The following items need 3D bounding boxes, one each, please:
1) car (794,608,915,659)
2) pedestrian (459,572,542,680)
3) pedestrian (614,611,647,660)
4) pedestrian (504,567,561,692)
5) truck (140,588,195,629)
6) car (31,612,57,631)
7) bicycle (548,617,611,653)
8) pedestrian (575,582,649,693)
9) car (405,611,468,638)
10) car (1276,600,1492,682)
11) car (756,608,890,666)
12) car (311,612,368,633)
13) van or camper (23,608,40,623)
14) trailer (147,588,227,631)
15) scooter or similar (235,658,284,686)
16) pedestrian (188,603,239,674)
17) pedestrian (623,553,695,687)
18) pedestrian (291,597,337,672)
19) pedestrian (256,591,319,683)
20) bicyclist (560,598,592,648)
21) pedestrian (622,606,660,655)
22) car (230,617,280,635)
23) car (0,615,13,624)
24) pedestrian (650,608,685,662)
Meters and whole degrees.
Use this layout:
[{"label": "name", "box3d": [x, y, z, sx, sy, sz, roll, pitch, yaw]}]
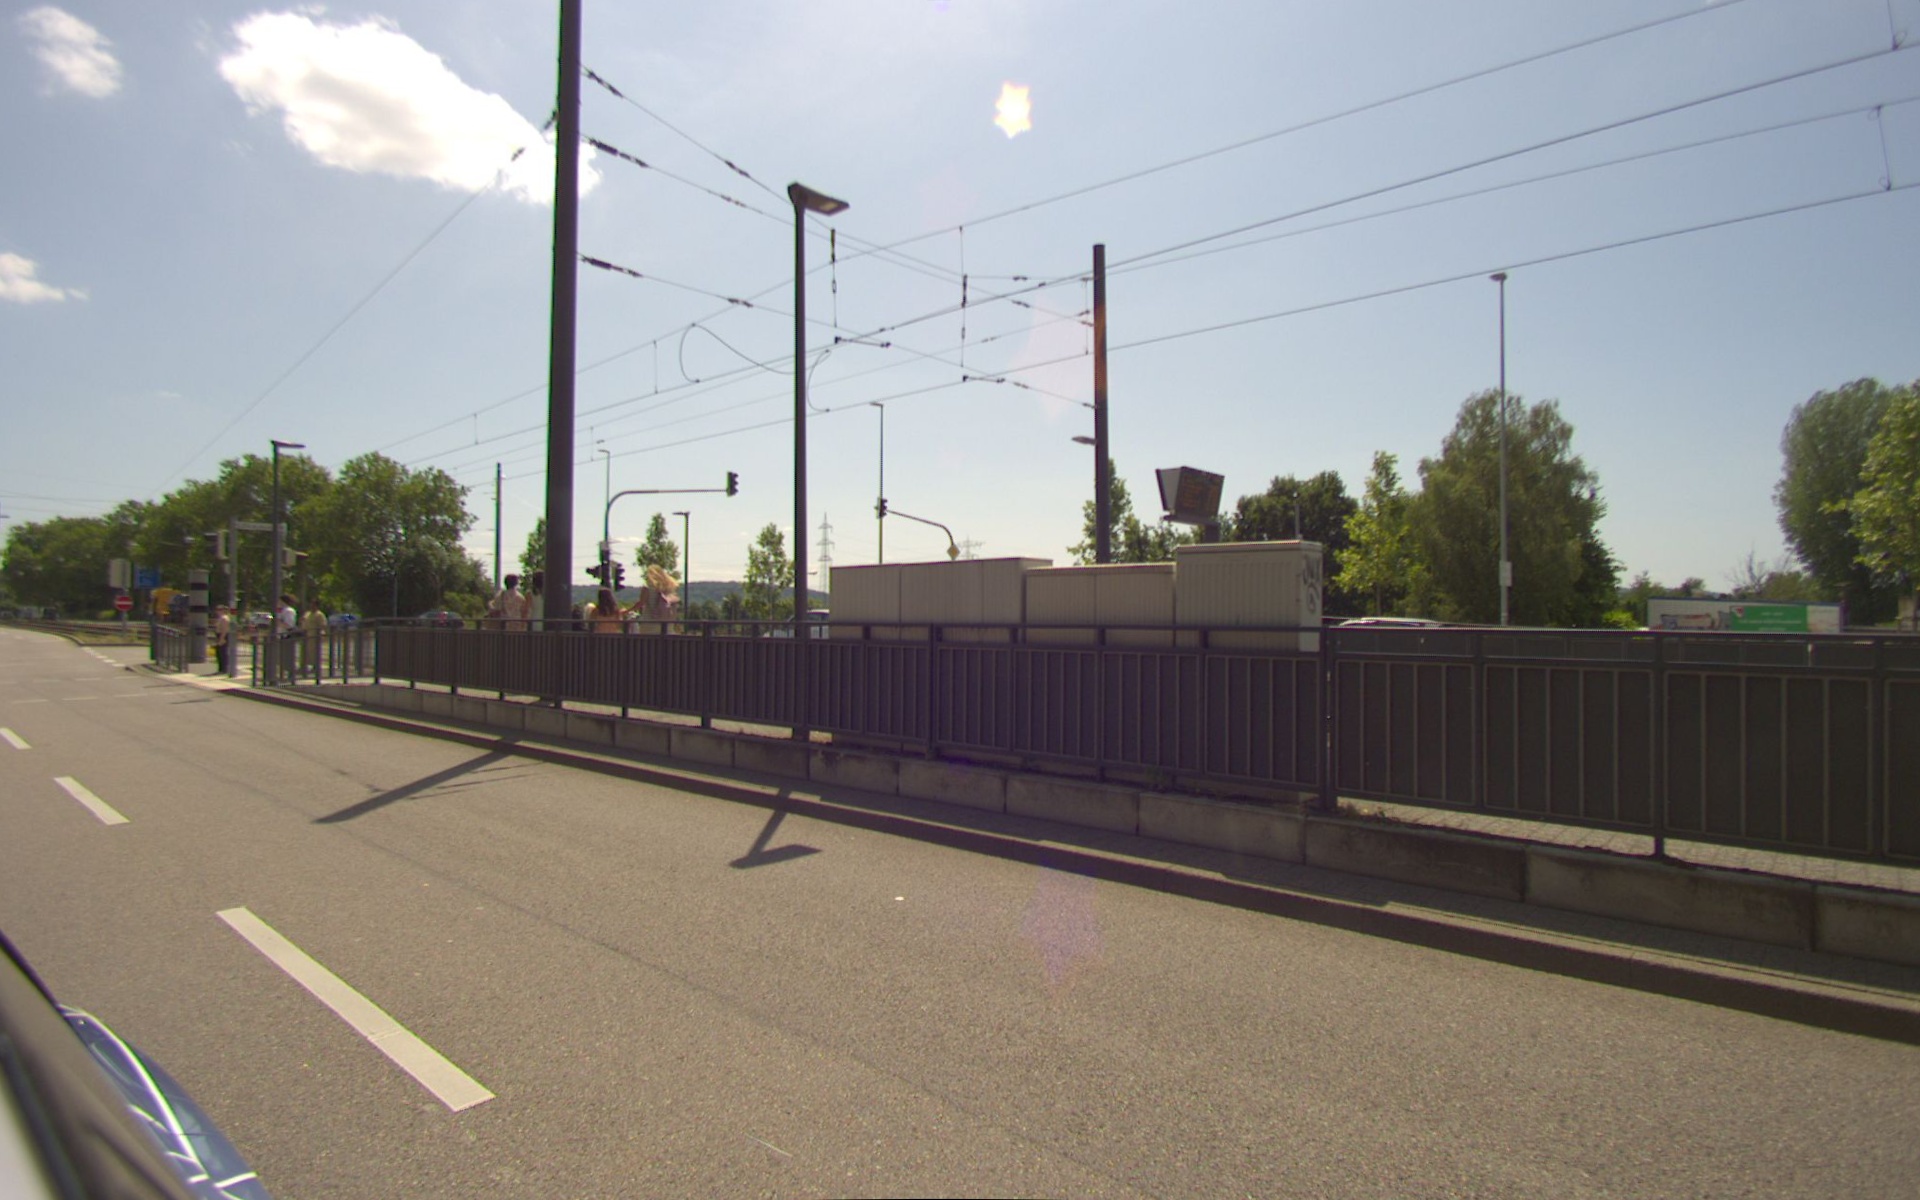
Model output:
[{"label": "car", "box3d": [-3.604, 1.096, 34.137, 4.001, 1.641, 1.971, -1, -1, 44]}, {"label": "pedestrian", "box3d": [-7.142, 0.398, 15.732, 0.924, 1.617, 0.881, -1, -1, 41]}, {"label": "pedestrian", "box3d": [-10.639, 1.144, 32.666, 0.763, 1.560, 0.754, -1, -1, 40]}, {"label": "pedestrian", "box3d": [-5.609, 0.383, 13.292, 0.557, 1.590, 0.492, -1, -2, 41]}, {"label": "truck", "box3d": [-81.916, 0.897, 104.554, 7.470, 4.069, 3.094, -1, -1, 40]}, {"label": "car", "box3d": [-125.670, 2.935, 138.833, 4.431, 1.852, 1.972, -11, -13, 41]}, {"label": "bicycle", "box3d": [-12.699, 1.149, 33.818, 0.761, 1.109, 1.960, -1, 0, 27]}, {"label": "pedestrian", "box3d": [-4.420, 0.462, 12.857, 0.719, 1.355, 0.607, -1, 0, 41]}, {"label": "car", "box3d": [-33.497, 1.554, 64.747, 4.303, 1.642, 1.975, -1, -1, 38]}, {"label": "car", "box3d": [9.320, 0.841, 22.389, 3.999, 1.641, 1.972, -1, 0, 42]}, {"label": "car", "box3d": [-4.211, 1.066, 30.797, 4.001, 1.641, 1.971, -1, 0, 44]}, {"label": "car", "box3d": [-44.286, 1.622, 72.215, 4.340, 1.456, 1.976, -1, -1, 35]}, {"label": "van or camper", "box3d": [-167.491, 2.861, 182.517, 1.969, 2.606, 5.853, 3, -2, -41]}, {"label": "trailer", "box3d": [-76.184, 0.969, 99.576, 15.472, 3.900, 3.083, -1, -1, 41]}, {"label": "scooter or similar", "box3d": [-13.988, 1.424, 20.216, 0.457, 0.509, 0.719, -1, -1, 39]}, {"label": "pedestrian", "box3d": [-17.074, 0.870, 23.142, 0.764, 1.584, 0.777, -1, -1, 39]}, {"label": "pedestrian", "box3d": [-3.941, 0.256, 13.269, 0.719, 1.694, 0.607, -1, 0, 41]}, {"label": "pedestrian", "box3d": [-14.959, 0.785, 23.443, 0.678, 1.685, 0.725, -1, -1, 39]}, {"label": "pedestrian", "box3d": [-13.769, 0.737, 20.733, 0.882, 1.816, 0.854, -1, -1, 39]}, {"label": "bicyclist", "box3d": [-12.779, 0.755, 33.661, 0.730, 1.627, 0.660, -1, 0, 27]}, {"label": "pedestrian", "box3d": [-10.730, 1.013, 34.066, 0.763, 1.622, 0.947, -1, -1, 40]}, {"label": "car", "box3d": [-58.372, 2.154, 83.755, 4.267, 1.474, 1.977, -1, -1, 34]}, {"label": "car", "box3d": [-174.078, 3.575, 184.085, 4.260, 1.649, 1.974, -1, -3, 39]}, {"label": "pedestrian", "box3d": [-9.278, 1.094, 32.086, 0.763, 1.685, 0.754, -1, -1, 40]}]
